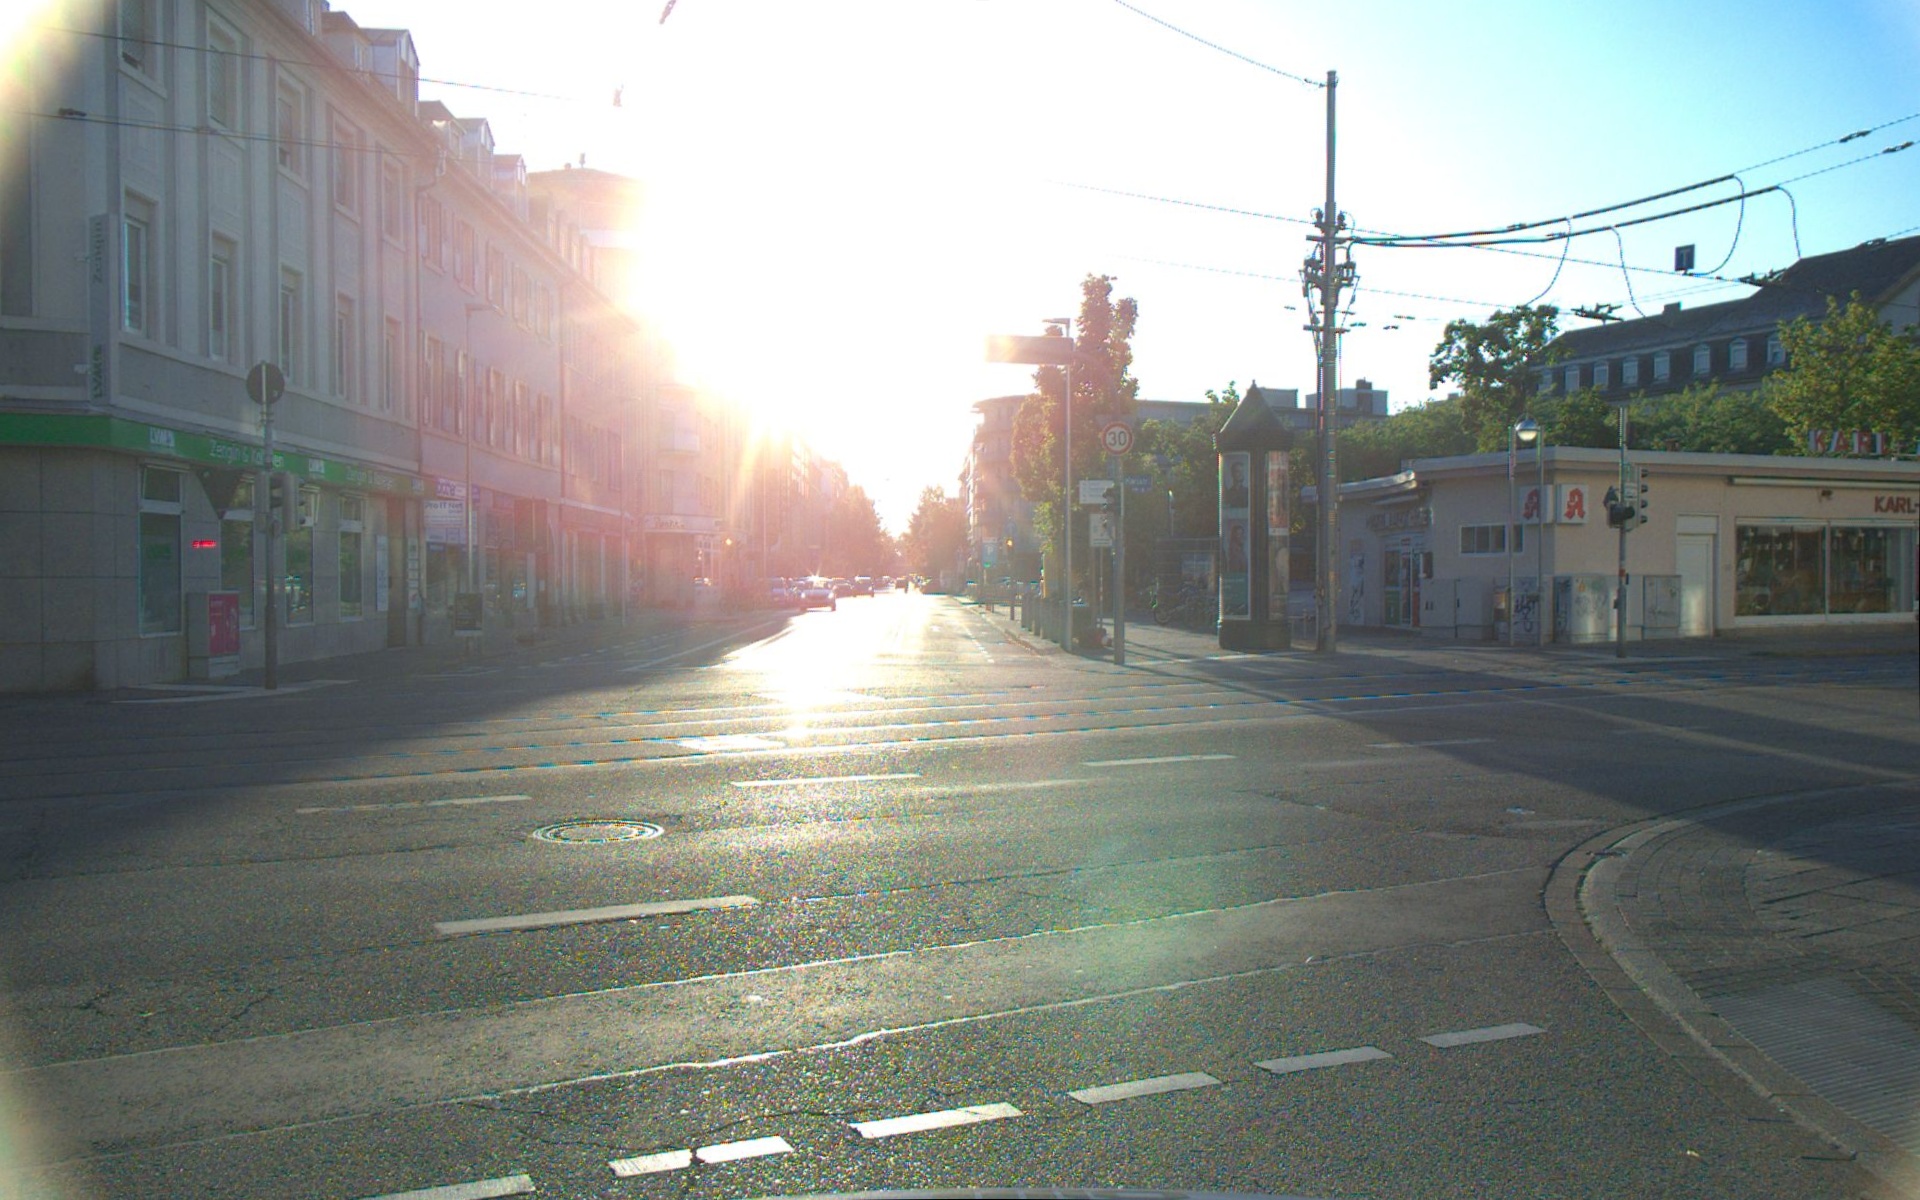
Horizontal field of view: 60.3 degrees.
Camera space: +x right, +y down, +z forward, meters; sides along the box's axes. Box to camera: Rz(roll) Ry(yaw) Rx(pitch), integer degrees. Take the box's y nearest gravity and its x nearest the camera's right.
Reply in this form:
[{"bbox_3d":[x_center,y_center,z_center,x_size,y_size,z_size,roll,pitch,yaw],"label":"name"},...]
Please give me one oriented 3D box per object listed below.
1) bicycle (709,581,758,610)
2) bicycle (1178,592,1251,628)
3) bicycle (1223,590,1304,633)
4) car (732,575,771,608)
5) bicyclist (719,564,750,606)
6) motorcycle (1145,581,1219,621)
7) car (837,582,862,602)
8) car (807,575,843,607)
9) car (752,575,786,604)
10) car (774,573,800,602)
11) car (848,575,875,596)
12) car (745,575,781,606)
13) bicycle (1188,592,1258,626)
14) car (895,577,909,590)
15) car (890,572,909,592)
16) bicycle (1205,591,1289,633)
[{"bbox_3d":[-9.957,-0.213,72.662,2.073,1.225,0.500,1,0,17],"label":"bicycle"},{"bbox_3d":[7.271,0.286,47.361,2.033,0.999,0.560,0,0,6],"label":"bicycle"},{"bbox_3d":[7.623,0.296,41.584,1.977,1.062,0.560,0,0,6],"label":"bicycle"},{"bbox_3d":[-9.908,-0.433,78.813,1.514,1.509,3.351,-1,1,-2],"label":"car"},{"bbox_3d":[-9.913,-0.670,72.664,1.105,1.822,0.765,1,0,18],"label":"bicyclist"},{"bbox_3d":[6.771,0.028,50.479,2.187,1.222,0.720,0,1,4],"label":"motorcycle"},{"bbox_3d":[-9.751,-0.678,146.505,1.953,1.709,3.999,1,0,0],"label":"car"},{"bbox_3d":[-6.356,-0.409,78.156,1.514,1.493,3.350,0,0,-2],"label":"car"},{"bbox_3d":[-10.080,-0.535,87.431,1.514,1.494,3.350,0,0,-2],"label":"car"},{"bbox_3d":[-9.854,-0.690,94.145,1.280,1.610,2.887,0,0,-2],"label":"car"},{"bbox_3d":[-8.192,-1.228,137.400,1.952,1.713,4.000,-1,1,0],"label":"car"},{"bbox_3d":[-9.819,-0.483,82.460,1.514,1.495,3.350,0,0,-2],"label":"car"},{"bbox_3d":[7.774,0.274,48.925,1.995,0.994,0.560,0,0,6],"label":"bicycle"},{"bbox_3d":[-8.653,-2.425,246.796,1.952,1.847,4.000,-1,1,0],"label":"car"},{"bbox_3d":[-6.458,-1.948,176.603,1.953,2.049,3.999,1,0,-1],"label":"car"},{"bbox_3d":[7.387,0.312,42.593,2.101,1.062,0.560,0,0,6],"label":"bicycle"}]
